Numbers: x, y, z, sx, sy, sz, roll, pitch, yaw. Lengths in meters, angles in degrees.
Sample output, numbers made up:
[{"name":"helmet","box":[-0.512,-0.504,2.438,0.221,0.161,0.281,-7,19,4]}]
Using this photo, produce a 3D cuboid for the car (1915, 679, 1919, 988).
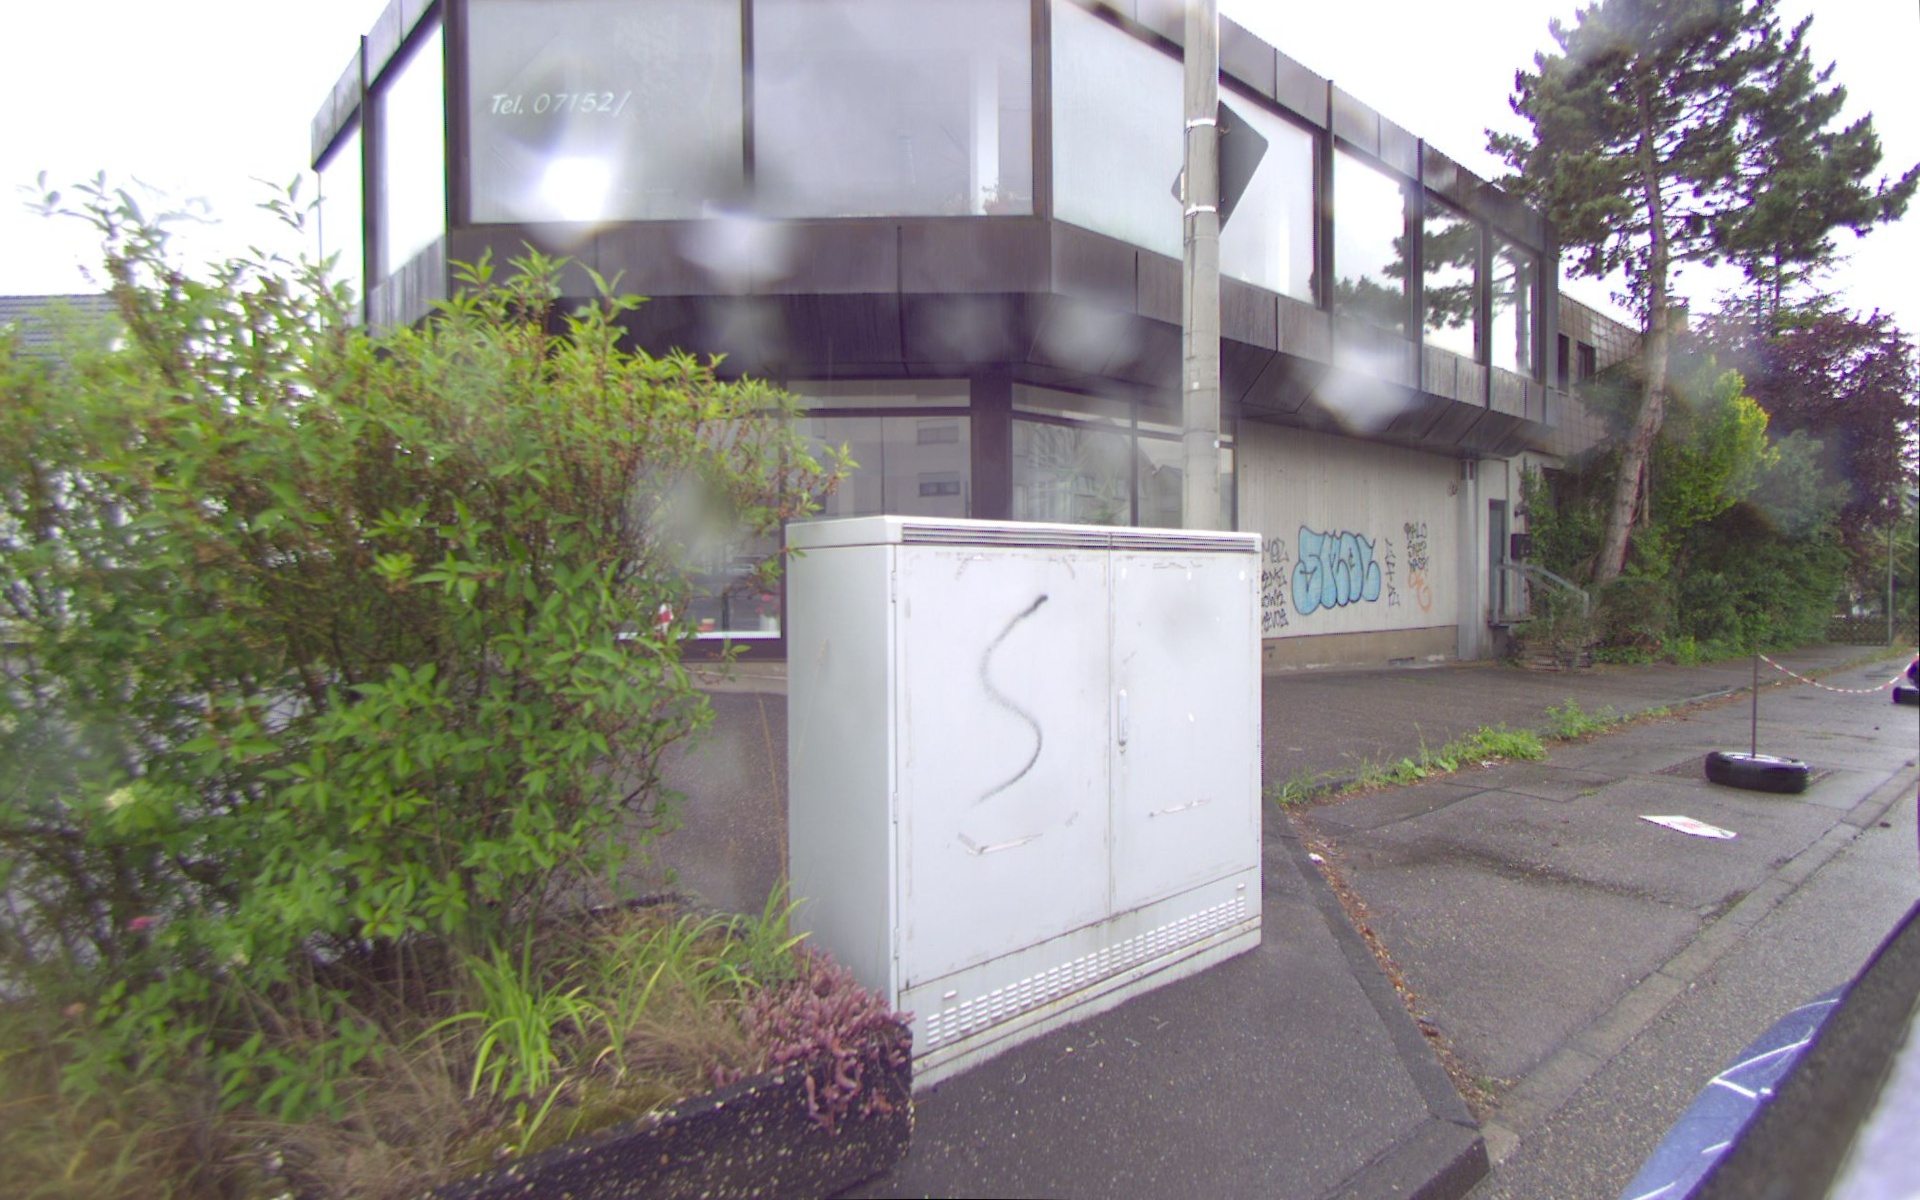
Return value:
[{"name":"car","box":[5.725,0.591,4.456,4.595,1.562,1.753,-1,2,-41]}]
